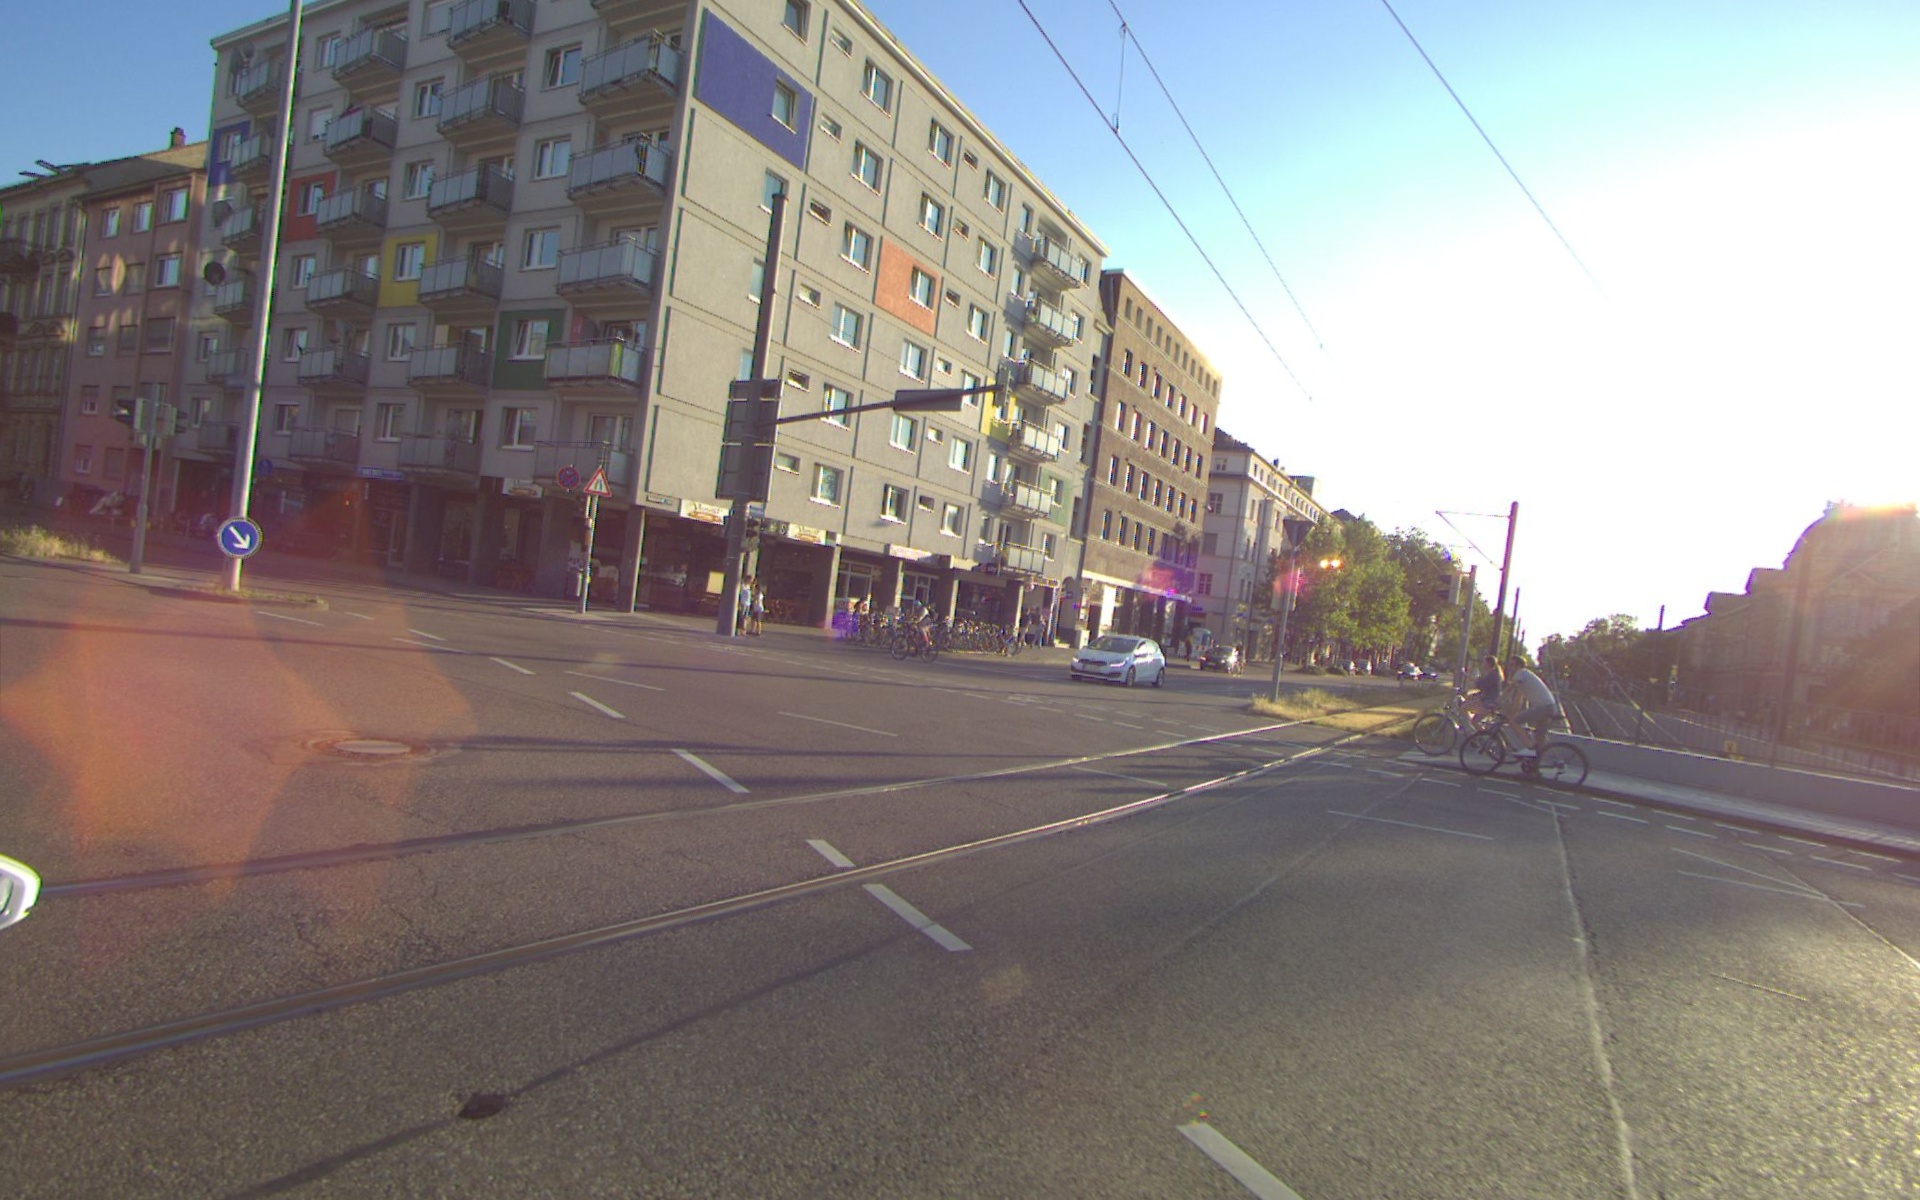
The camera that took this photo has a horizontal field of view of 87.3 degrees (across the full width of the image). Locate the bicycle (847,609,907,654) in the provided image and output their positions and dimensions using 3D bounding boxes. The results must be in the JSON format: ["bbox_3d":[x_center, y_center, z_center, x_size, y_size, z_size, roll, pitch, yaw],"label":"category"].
[{"bbox_3d":[-2.658,1.006,32.092,1.752,1.156,0.607,8,1,30],"label":"bicycle"}]

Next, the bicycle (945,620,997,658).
[{"bbox_3d":[0.399,1.441,36.975,1.737,1.133,0.567,8,1,31],"label":"bicycle"}]

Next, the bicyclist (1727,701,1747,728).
[{"bbox_3d":[73.979,10.887,95.813,1.067,2.305,0.984,9,2,30],"label":"bicyclist"}]

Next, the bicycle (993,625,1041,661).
[{"bbox_3d":[2.267,1.715,40.021,1.668,1.158,0.695,8,1,32],"label":"bicycle"}]

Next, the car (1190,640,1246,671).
[{"bbox_3d":[14.946,3.222,58.105,1.796,1.437,3.990,8,0,33],"label":"car"}]

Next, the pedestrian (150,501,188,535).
[{"bbox_3d":[-32.324,-3.350,41.104,0.777,1.185,0.861,8,1,22],"label":"pedestrian"}]

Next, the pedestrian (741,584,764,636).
[{"bbox_3d":[-5.759,0.278,27.951,0.375,1.401,0.395,8,1,2],"label":"pedestrian"}]

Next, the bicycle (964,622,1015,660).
[{"bbox_3d":[1.117,1.548,38.097,1.668,1.167,0.704,8,1,32],"label":"bicycle"}]

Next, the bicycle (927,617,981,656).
[{"bbox_3d":[-0.236,1.307,35.977,1.747,1.150,0.604,8,1,31],"label":"bicycle"}]

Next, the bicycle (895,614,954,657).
[{"bbox_3d":[-1.208,1.211,34.154,1.764,1.206,0.650,8,1,30],"label":"bicycle"}]

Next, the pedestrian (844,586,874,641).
[{"bbox_3d":[-3.318,0.439,33.042,0.542,1.705,0.575,6,1,-38],"label":"pedestrian"}]

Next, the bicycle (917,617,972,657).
[{"bbox_3d":[-0.543,1.303,35.423,1.752,1.173,0.604,8,1,30],"label":"bicycle"}]

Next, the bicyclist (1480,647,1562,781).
[{"bbox_3d":[8.324,1.665,14.955,0.781,1.841,0.646,8,1,23],"label":"bicyclist"}]

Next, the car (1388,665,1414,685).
[{"bbox_3d":[47.599,8.110,108.563,1.860,1.763,4.321,8,0,32],"label":"car"}]

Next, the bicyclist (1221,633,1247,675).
[{"bbox_3d":[14.125,2.768,51.855,0.786,2.039,0.921,8,1,32],"label":"bicyclist"}]

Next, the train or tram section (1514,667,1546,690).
[{"bbox_3d":[114.027,15.633,201.283,4.322,3.897,11.400,8,0,26],"label":"train or tram section"}]

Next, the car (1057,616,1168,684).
[{"bbox_3d":[4.527,1.502,29.422,1.666,1.638,3.992,8,0,31],"label":"car"}]

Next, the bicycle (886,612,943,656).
[{"bbox_3d":[-1.520,1.131,33.585,1.745,1.196,0.567,8,1,30],"label":"bicycle"}]

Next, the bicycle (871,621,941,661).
[{"bbox_3d":[-1.481,1.158,27.909,0.695,0.893,1.938,9,0,42],"label":"bicycle"}]

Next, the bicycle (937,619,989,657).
[{"bbox_3d":[0.100,1.374,36.475,1.731,1.131,0.551,8,1,31],"label":"bicycle"}]

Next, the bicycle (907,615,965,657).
[{"bbox_3d":[-0.834,1.229,34.780,1.805,1.175,0.639,8,1,31],"label":"bicycle"}]

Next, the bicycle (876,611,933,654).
[{"bbox_3d":[-1.822,1.061,33.077,1.742,1.182,0.539,8,1,31],"label":"bicycle"}]

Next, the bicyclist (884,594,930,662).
[{"bbox_3d":[-1.457,0.774,27.843,0.694,1.764,0.788,9,1,41],"label":"bicyclist"}]

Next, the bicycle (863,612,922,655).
[{"bbox_3d":[-2.190,1.075,32.596,1.733,1.153,0.598,8,1,31],"label":"bicycle"}]

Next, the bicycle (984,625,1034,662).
[{"bbox_3d":[1.918,1.705,39.377,1.668,1.184,0.747,8,1,32],"label":"bicycle"}]

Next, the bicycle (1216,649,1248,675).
[{"bbox_3d":[14.040,3.199,51.828,0.802,1.216,2.407,8,0,32],"label":"bicycle"}]

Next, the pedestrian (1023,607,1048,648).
[{"bbox_3d":[3.617,1.346,48.347,0.774,1.864,0.734,8,1,22],"label":"pedestrian"}]

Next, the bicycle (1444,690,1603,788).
[{"bbox_3d":[8.306,2.029,14.923,1.872,1.089,0.632,8,1,22],"label":"bicycle"}]

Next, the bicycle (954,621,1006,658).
[{"bbox_3d":[0.745,1.465,37.512,1.704,1.138,0.633,8,0,32],"label":"bicycle"}]

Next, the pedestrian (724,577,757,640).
[{"bbox_3d":[-5.951,0.231,27.328,0.563,1.640,0.603,7,1,-1],"label":"pedestrian"}]

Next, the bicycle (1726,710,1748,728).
[{"bbox_3d":[73.890,11.335,95.735,1.083,1.416,2.827,8,0,30],"label":"bicycle"}]

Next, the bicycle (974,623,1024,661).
[{"bbox_3d":[1.502,1.602,38.729,1.668,1.193,0.747,8,1,32],"label":"bicycle"}]

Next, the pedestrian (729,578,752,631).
[{"bbox_3d":[-6.279,0.134,28.757,0.371,1.467,0.394,8,1,3],"label":"pedestrian"}]

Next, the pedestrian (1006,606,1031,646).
[{"bbox_3d":[2.833,1.247,48.714,0.814,1.835,0.720,8,1,20],"label":"pedestrian"}]

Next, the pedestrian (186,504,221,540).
[{"bbox_3d":[-29.916,-3.066,39.782,0.779,1.272,0.712,8,1,27],"label":"pedestrian"}]

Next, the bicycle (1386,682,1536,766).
[{"bbox_3d":[8.424,2.073,17.008,2.130,1.097,0.539,5,1,18],"label":"bicycle"}]

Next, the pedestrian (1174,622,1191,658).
[{"bbox_3d":[14.143,2.527,63.996,0.593,2.205,0.790,8,1,30],"label":"pedestrian"}]

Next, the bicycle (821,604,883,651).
[{"bbox_3d":[-3.411,0.854,31.662,1.769,1.223,0.637,8,1,30],"label":"bicycle"}]

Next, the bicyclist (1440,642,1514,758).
[{"bbox_3d":[8.690,1.664,16.930,0.862,1.841,0.538,5,1,17],"label":"bicyclist"}]
